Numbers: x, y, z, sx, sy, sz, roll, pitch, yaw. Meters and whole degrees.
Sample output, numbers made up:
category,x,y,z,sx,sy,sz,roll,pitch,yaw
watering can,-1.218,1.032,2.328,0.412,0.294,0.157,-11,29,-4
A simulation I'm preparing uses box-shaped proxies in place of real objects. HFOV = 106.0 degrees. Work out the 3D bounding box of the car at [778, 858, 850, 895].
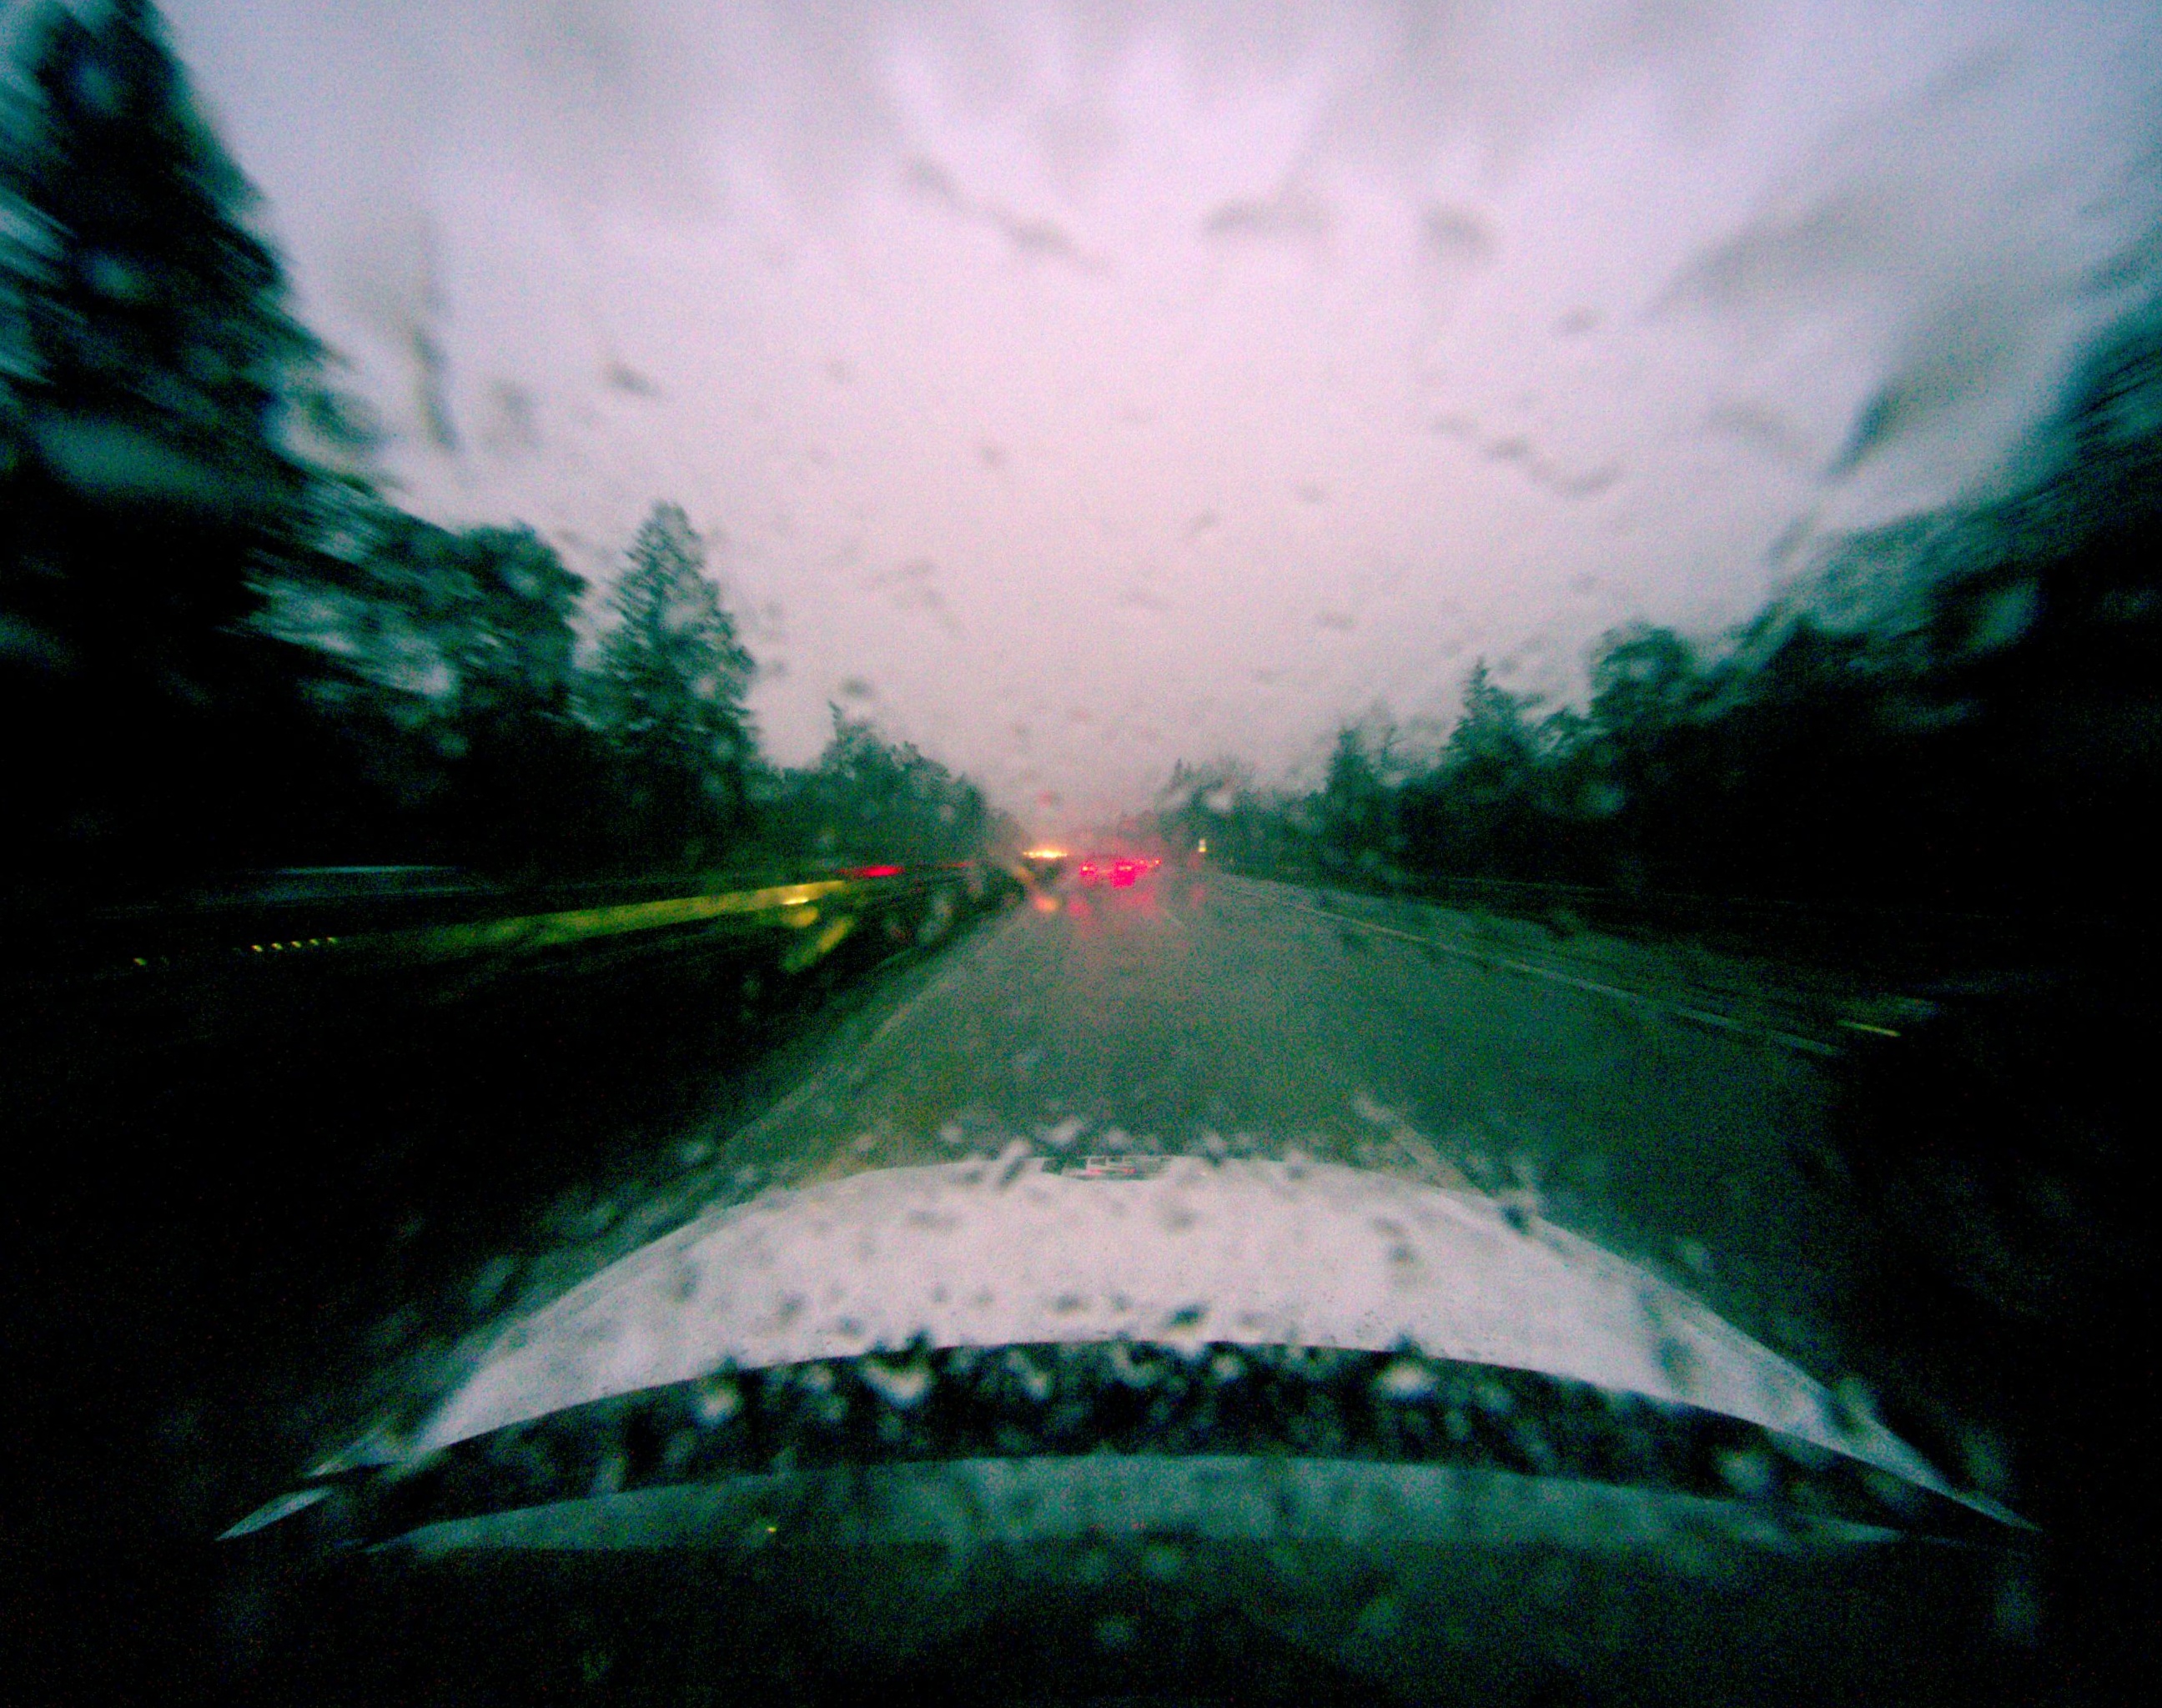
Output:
category,x,y,z,sx,sy,sz,roll,pitch,yaw
car,-11.069,0.896,33.992,1.670,1.389,3.981,-1,0,0

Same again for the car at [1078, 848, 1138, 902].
category,x,y,z,sx,sy,sz,roll,pitch,yaw
car,0.934,0.701,29.012,1.979,1.767,4.174,-1,0,1

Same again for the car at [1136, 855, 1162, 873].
category,x,y,z,sx,sy,sz,roll,pitch,yaw
car,5.580,0.845,67.415,1.775,1.437,3.535,-1,0,-1

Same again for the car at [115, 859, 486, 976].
category,x,y,z,sx,sy,sz,roll,pitch,yaw
car,-11.499,0.827,12.489,1.788,1.440,4.041,-1,0,0

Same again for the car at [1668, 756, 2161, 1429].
category,x,y,z,sx,sy,sz,roll,pitch,yaw
car,3.739,0.589,1.569,2.063,1.697,4.462,-1,0,1
